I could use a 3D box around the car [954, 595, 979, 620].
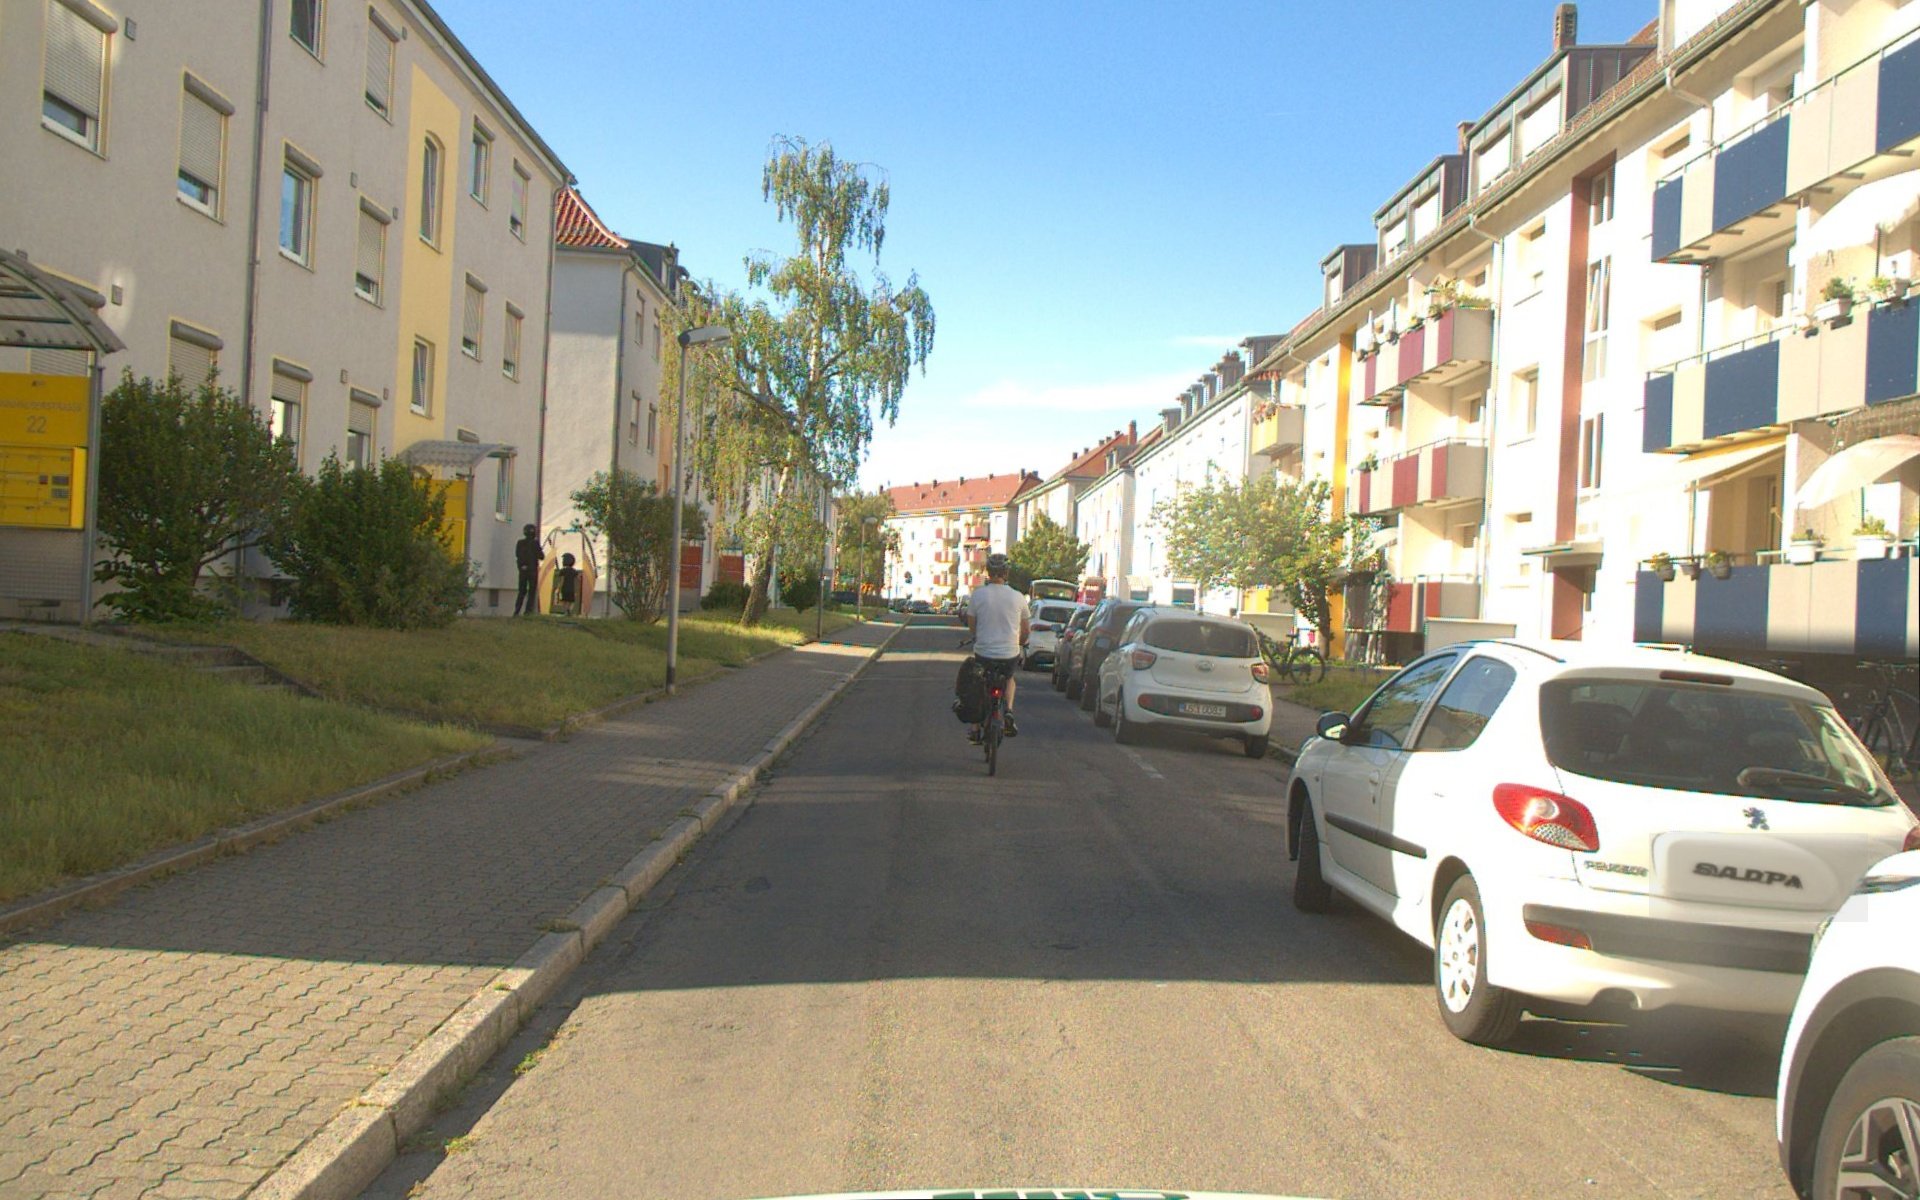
[{"bbox_3d":[0.486,0.578,127.418,1.641,1.769,3.940,4,0,-3],"label":"car"}]

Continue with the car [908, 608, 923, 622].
[{"bbox_3d":[-4.416,1.492,164.381,1.440,1.359,3.139,1,0,-3],"label":"car"}]

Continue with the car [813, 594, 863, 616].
[{"bbox_3d":[-10.387,0.392,141.153,4.149,1.667,1.581,3,0,-5],"label":"car"}]

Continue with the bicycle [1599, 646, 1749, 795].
[{"bbox_3d":[6.346,1.037,14.792,0.533,1.191,1.873,1,0,0],"label":"bicycle"}]

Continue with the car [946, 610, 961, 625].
[{"bbox_3d":[-0.740,1.842,176.513,1.354,1.523,3.075,4,0,-3],"label":"car"}]

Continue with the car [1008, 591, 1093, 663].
[{"bbox_3d":[2.329,0.679,43.633,1.953,1.640,4.996,4,0,1],"label":"car"}]

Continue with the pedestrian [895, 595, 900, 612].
[{"bbox_3d":[-5.865,0.347,156.088,0.425,1.602,0.543,2,0,-1],"label":"pedestrian"}]

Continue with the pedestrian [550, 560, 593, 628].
[{"bbox_3d":[-7.857,-0.117,33.476,0.672,1.340,0.575,2,0,-1],"label":"pedestrian"}]

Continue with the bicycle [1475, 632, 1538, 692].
[{"bbox_3d":[10.373,1.156,31.428,0.510,1.055,1.975,1,0,-1],"label":"bicycle"}]

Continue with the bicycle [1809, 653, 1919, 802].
[{"bbox_3d":[7.988,1.057,14.051,0.532,1.140,1.872,1,0,-2],"label":"bicycle"}]

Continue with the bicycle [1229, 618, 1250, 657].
[{"bbox_3d":[8.289,1.114,49.056,0.395,1.106,1.299,1,0,0],"label":"bicycle"}]

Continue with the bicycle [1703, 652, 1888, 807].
[{"bbox_3d":[7.054,1.058,14.062,0.566,1.152,1.872,1,0,-2],"label":"bicycle"}]

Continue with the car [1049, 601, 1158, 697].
[{"bbox_3d":[2.513,0.824,29.716,1.613,1.474,4.061,4,0,2],"label":"car"}]

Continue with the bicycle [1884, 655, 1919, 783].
[{"bbox_3d":[8.689,1.056,14.096,0.527,1.101,1.872,0,0,-2],"label":"bicycle"}]

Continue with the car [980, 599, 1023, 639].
[{"bbox_3d":[1.684,0.755,68.473,1.608,1.524,4.156,2,0,0],"label":"car"}]

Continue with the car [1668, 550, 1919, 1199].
[{"bbox_3d":[2.786,0.773,1.920,1.765,1.620,4.580,4,0,-2],"label":"car"}]

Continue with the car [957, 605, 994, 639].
[{"bbox_3d":[0.862,1.215,92.944,1.824,1.697,4.126,5,0,-1],"label":"car"}]

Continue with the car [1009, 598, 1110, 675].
[{"bbox_3d":[2.190,0.783,37.489,1.737,1.531,4.478,4,0,-3],"label":"car"}]

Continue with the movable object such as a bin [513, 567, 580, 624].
[{"bbox_3d":[-10.734,-0.108,42.968,1.360,1.359,1.228,4,0,-1],"label":"movable object such as a bin"}]

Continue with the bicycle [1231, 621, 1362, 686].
[{"bbox_3d":[6.473,1.025,31.904,2.373,1.149,0.880,2,0,5],"label":"bicycle"}]

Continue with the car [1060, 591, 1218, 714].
[{"bbox_3d":[2.547,0.711,24.475,1.688,1.606,4.351,2,0,-2],"label":"car"}]

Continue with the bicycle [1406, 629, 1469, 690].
[{"bbox_3d":[9.083,1.118,31.528,0.510,1.067,2.288,0,0,-1],"label":"bicycle"}]

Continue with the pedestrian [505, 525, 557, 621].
[{"bbox_3d":[-8.506,-0.520,32.825,0.789,1.855,0.718,2,-1,-1],"label":"pedestrian"}]

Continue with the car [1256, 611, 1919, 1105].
[{"bbox_3d":[2.619,0.858,7.332,1.657,1.443,4.096,5,0,-2],"label":"car"}]

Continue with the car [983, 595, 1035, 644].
[{"bbox_3d":[1.840,0.711,63.379,1.747,1.676,4.468,4,0,0],"label":"car"}]

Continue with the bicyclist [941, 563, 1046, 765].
[{"bbox_3d":[0.278,0.538,14.329,0.792,1.672,0.898,2,0,-3],"label":"bicyclist"}]

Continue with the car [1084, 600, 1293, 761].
[{"bbox_3d":[2.560,0.847,19.361,1.679,1.535,3.852,6,0,-2],"label":"car"}]

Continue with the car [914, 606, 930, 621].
[{"bbox_3d":[-3.660,1.283,159.842,1.440,1.358,3.139,4,0,-3],"label":"car"}]

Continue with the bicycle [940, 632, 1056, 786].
[{"bbox_3d":[0.289,0.881,14.090,0.792,1.148,2.100,2,0,-3],"label":"bicycle"}]

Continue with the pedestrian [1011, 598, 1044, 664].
[{"bbox_3d":[1.689,0.775,41.237,0.724,1.602,0.879,2,0,-1],"label":"pedestrian"}]

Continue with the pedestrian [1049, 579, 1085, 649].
[{"bbox_3d":[2.680,0.349,41.517,0.803,1.717,0.604,1,0,-2],"label":"pedestrian"}]
